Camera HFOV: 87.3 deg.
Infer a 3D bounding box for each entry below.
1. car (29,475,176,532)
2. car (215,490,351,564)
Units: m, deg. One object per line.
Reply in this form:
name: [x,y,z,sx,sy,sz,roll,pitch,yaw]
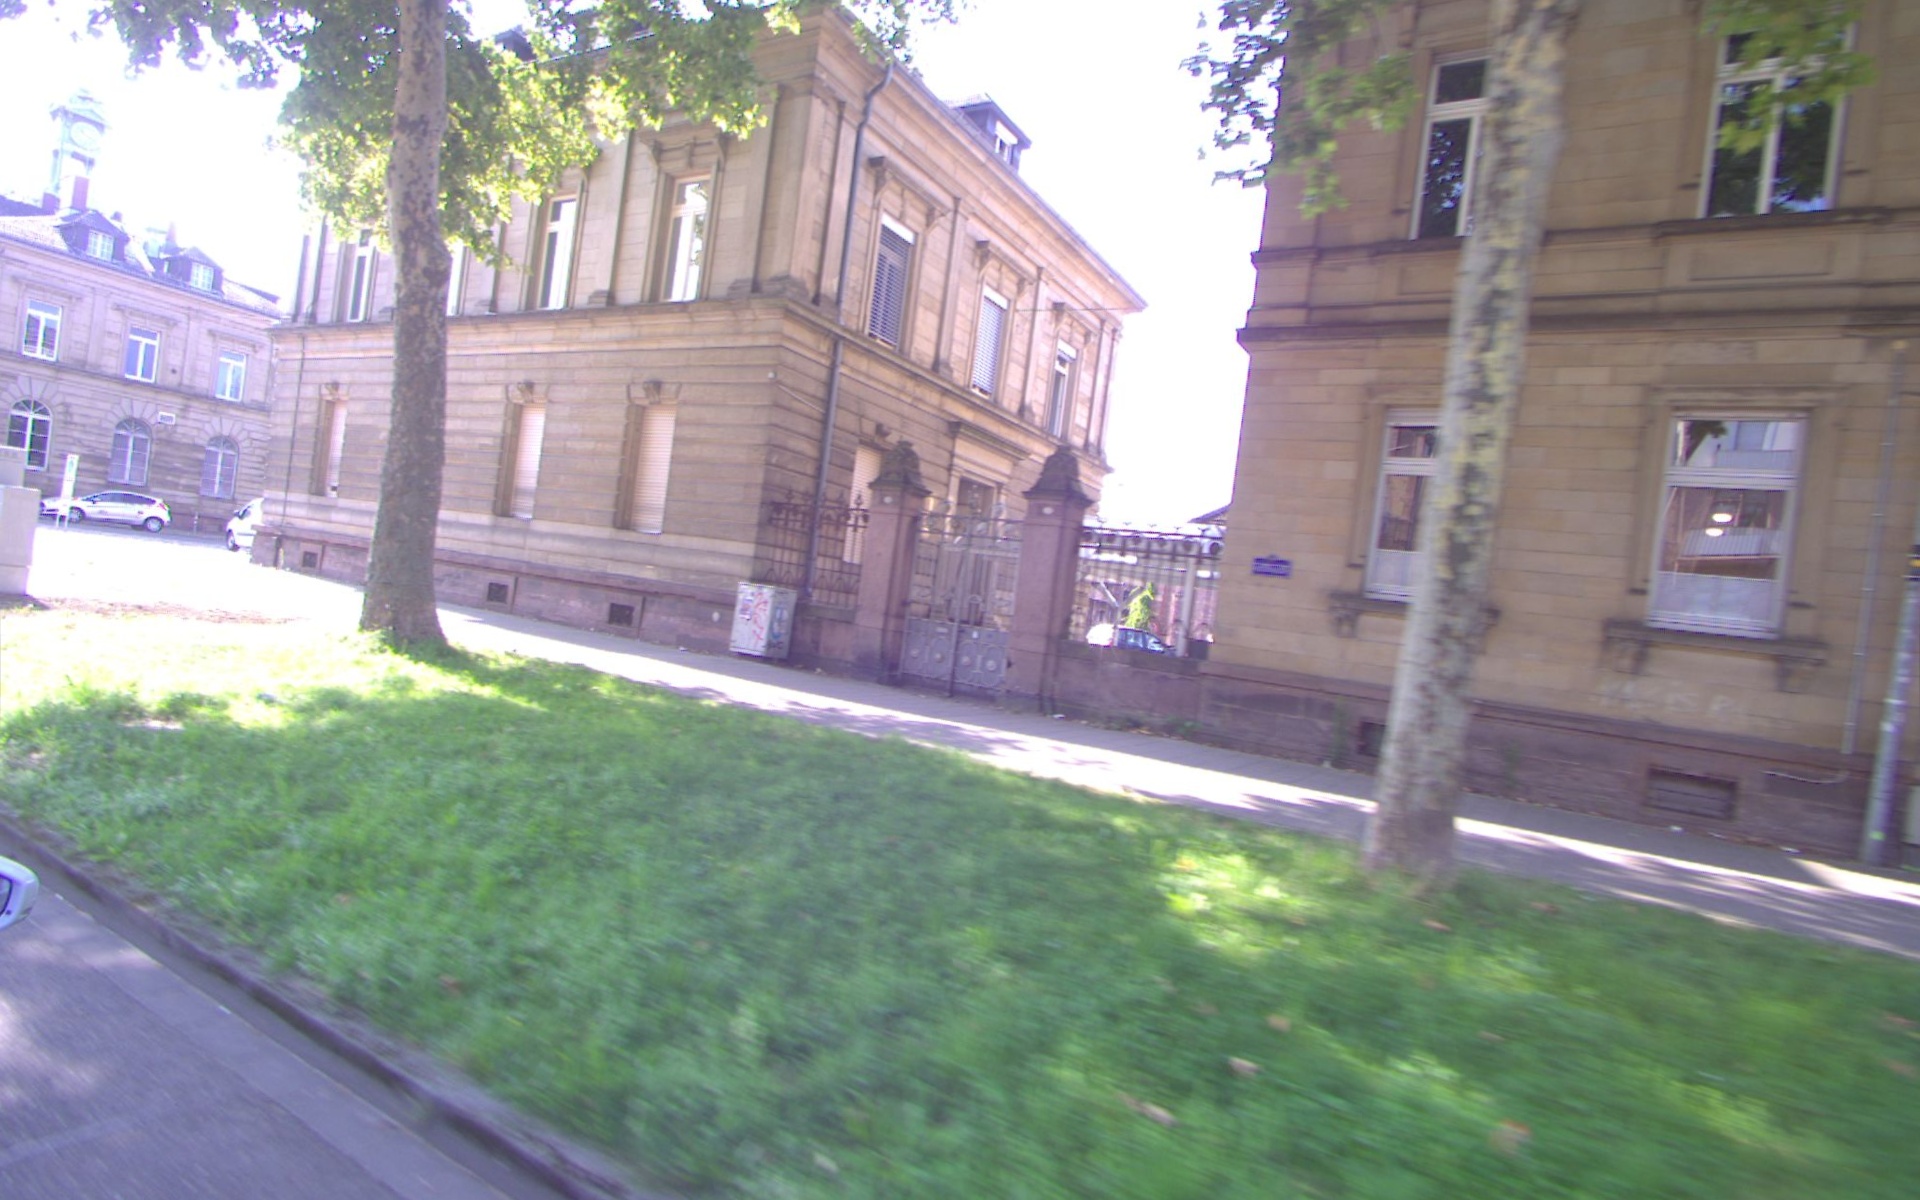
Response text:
car: [-33.057,-3.691,38.886,1.640,1.556,3.997,7,1,36]
car: [-21.168,-2.296,31.435,4.155,1.806,1.905,7,1,32]
